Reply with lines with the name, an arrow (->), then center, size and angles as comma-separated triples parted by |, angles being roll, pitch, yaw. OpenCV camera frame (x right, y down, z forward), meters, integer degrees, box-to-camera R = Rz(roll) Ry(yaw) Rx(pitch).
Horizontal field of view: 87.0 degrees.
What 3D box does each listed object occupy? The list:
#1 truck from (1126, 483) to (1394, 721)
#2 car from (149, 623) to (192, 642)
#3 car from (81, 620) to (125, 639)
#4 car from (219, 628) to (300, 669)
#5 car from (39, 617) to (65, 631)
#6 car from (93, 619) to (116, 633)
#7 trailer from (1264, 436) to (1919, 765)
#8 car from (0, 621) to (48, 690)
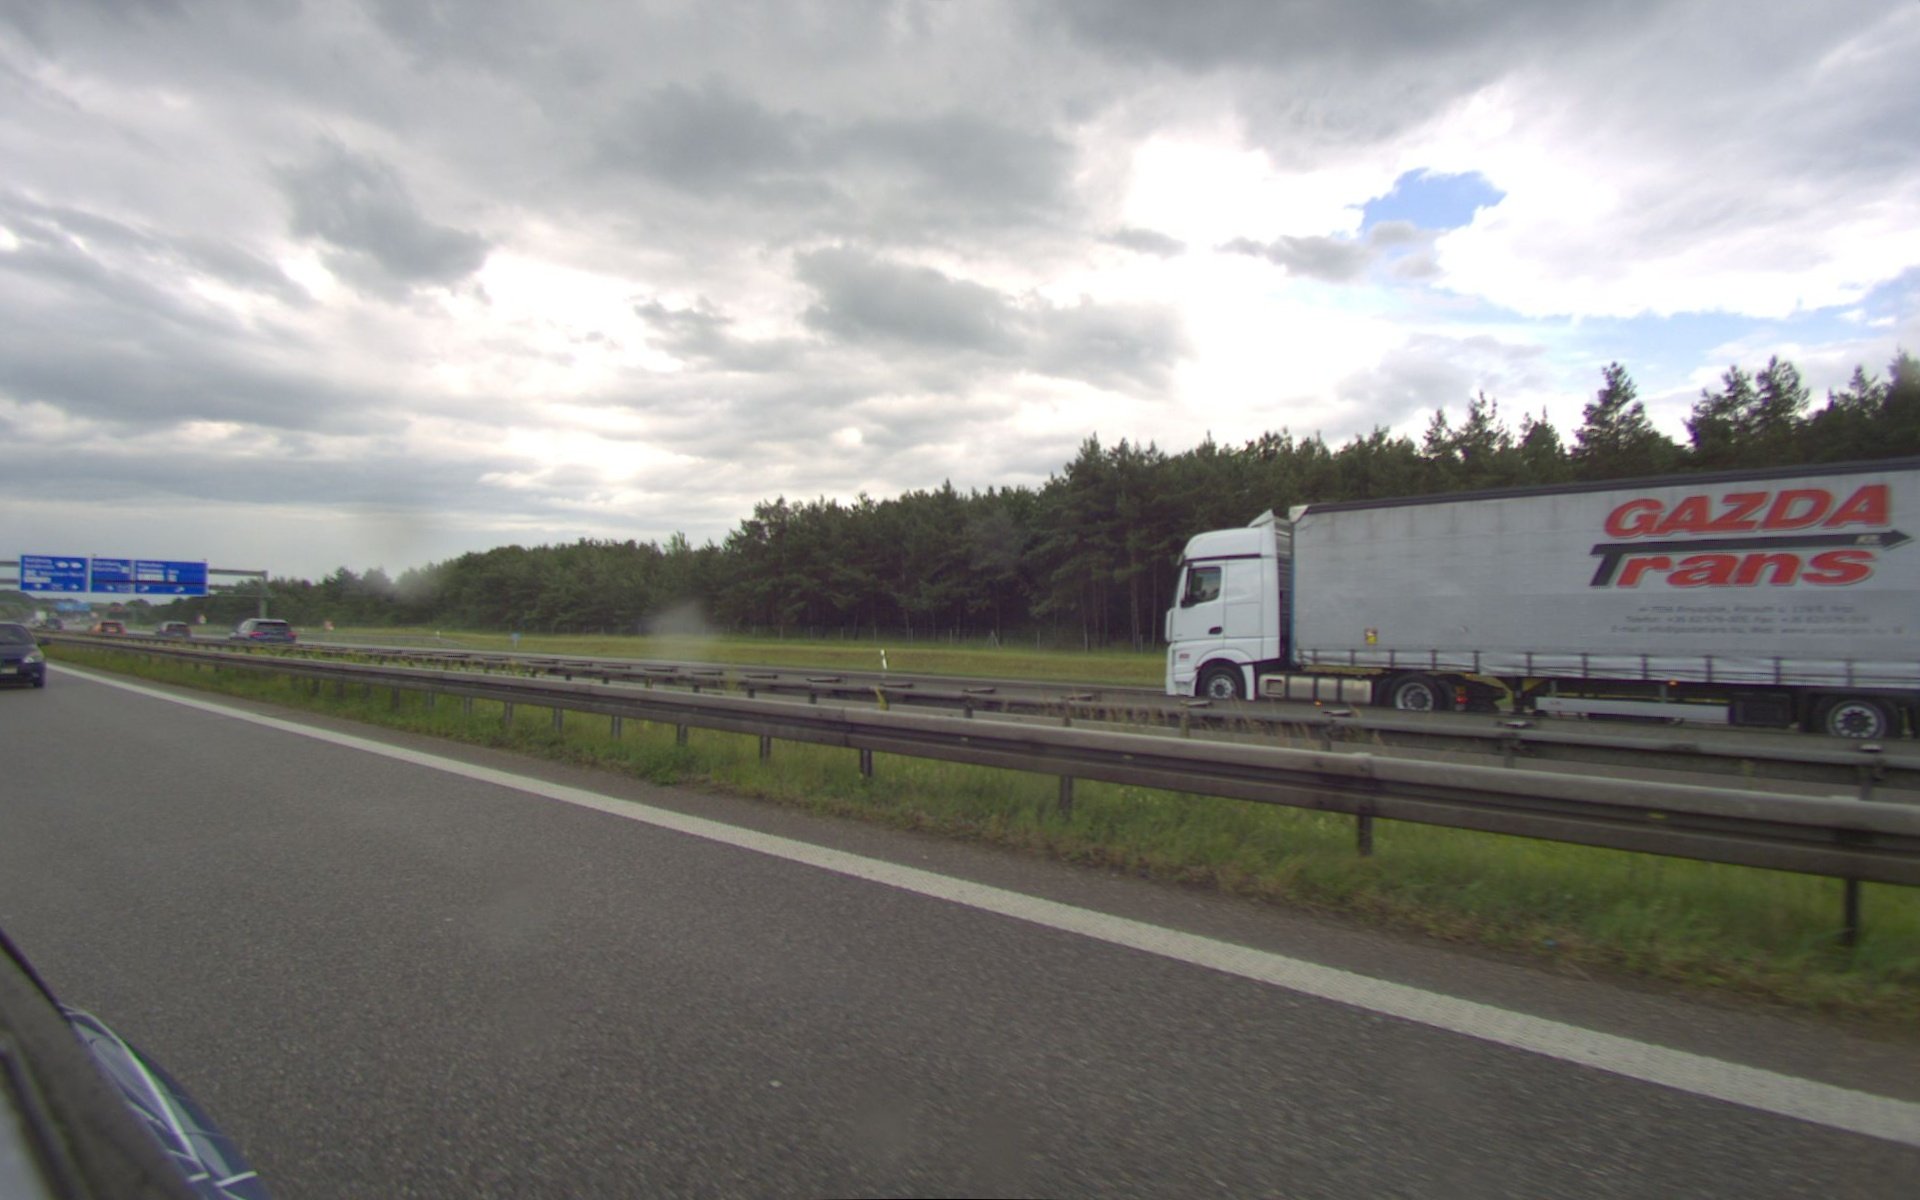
truck -> 5.967, 0.034, 20.477 | 4.707, 4.269, 2.116 | -1, 0, 43
car -> -61.720, 2.513, 79.063 | 4.651, 1.467, 1.895 | -1, -2, 42
car -> -63.145, 2.157, 74.517 | 4.651, 1.375, 1.895 | -1, -2, 42
car -> -30.732, 2.094, 44.343 | 4.469, 1.674, 1.840 | -1, -2, 41
car -> -101.803, 2.640, 113.446 | 4.118, 1.483, 1.971 | -1, 1, 45
car -> -94.382, 2.867, 111.620 | 4.403, 1.483, 1.619 | -1, -2, 45
trailer -> 11.889, 0.004, 15.030 | 14.623, 4.272, 2.075 | -1, 1, 42
car -> -21.029, 1.156, 21.756 | 4.432, 1.339, 1.785 | 0, 0, 44
